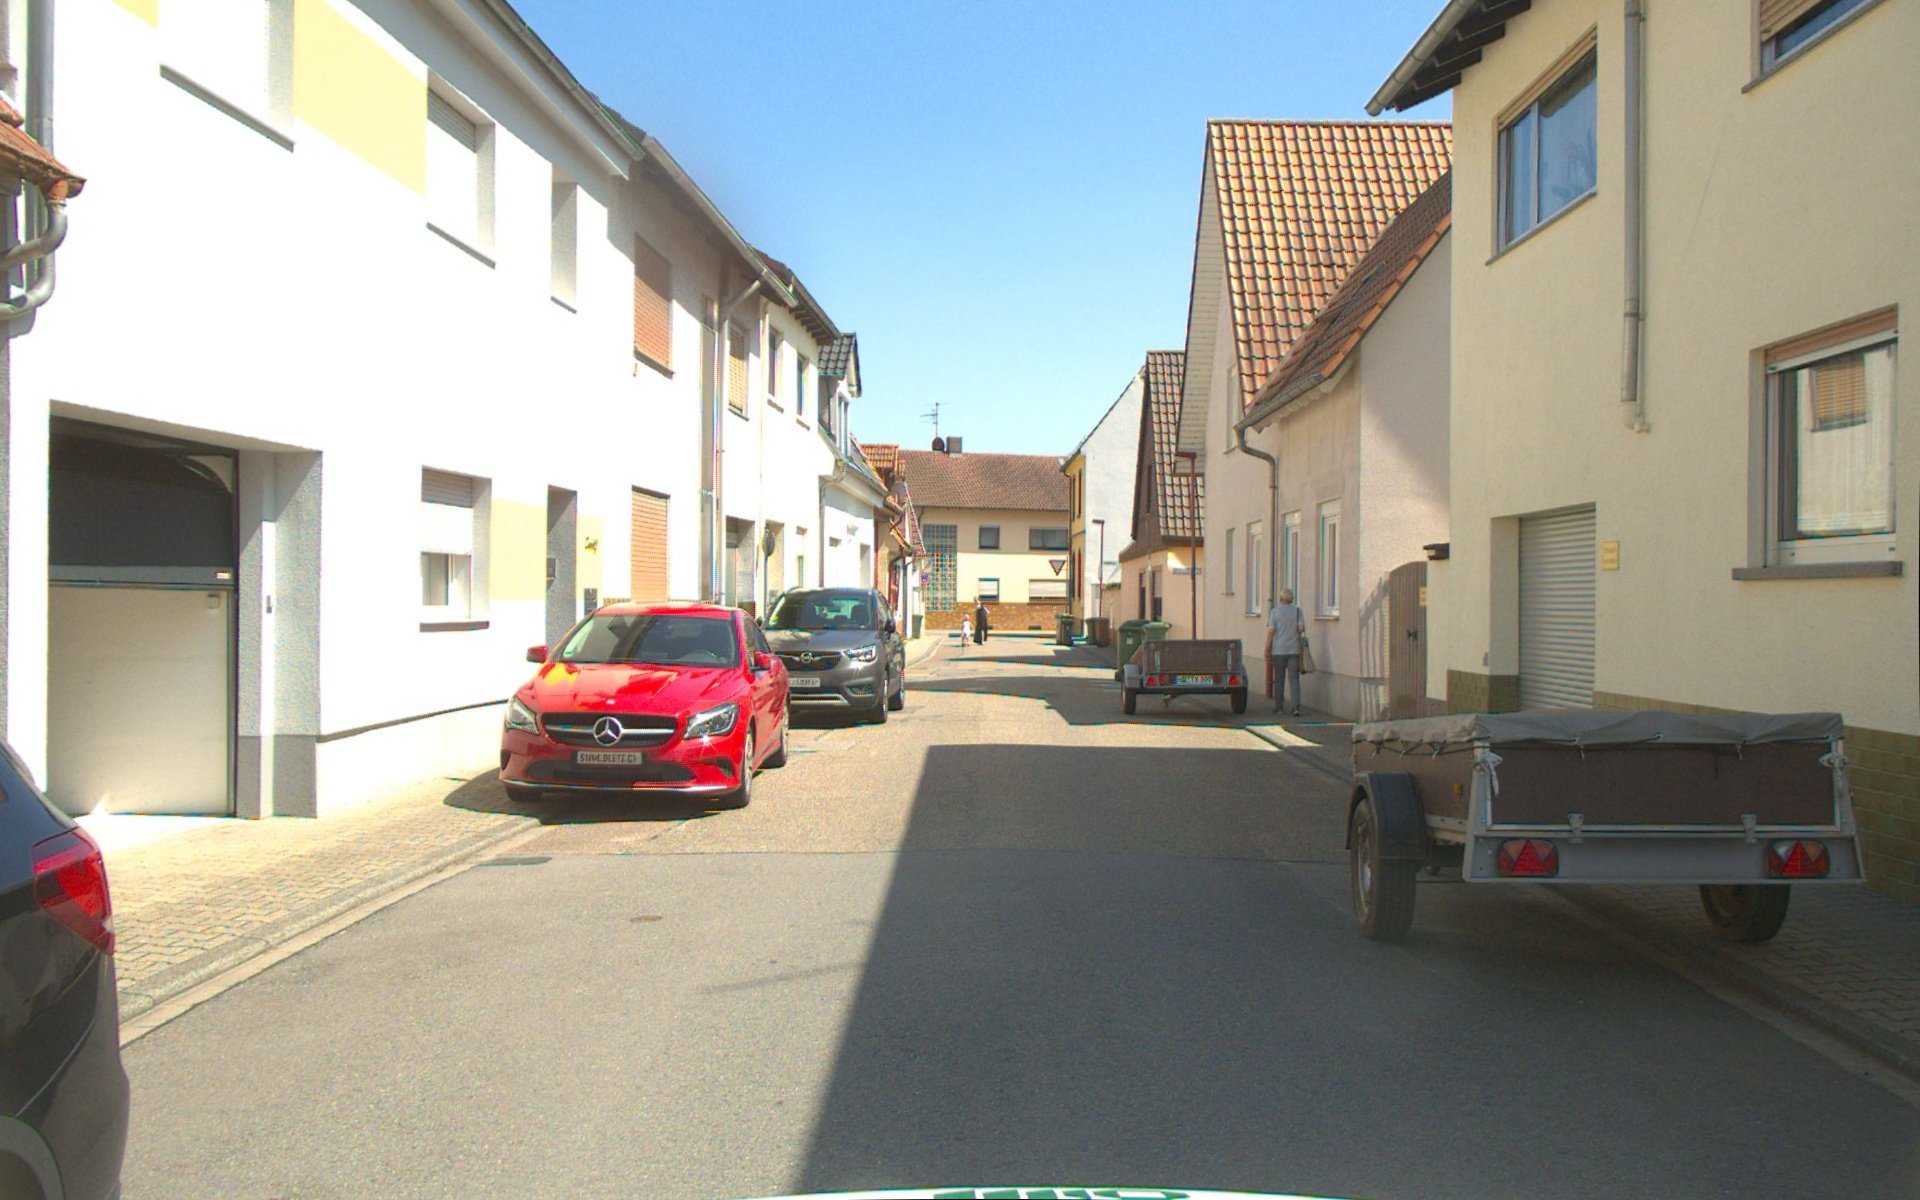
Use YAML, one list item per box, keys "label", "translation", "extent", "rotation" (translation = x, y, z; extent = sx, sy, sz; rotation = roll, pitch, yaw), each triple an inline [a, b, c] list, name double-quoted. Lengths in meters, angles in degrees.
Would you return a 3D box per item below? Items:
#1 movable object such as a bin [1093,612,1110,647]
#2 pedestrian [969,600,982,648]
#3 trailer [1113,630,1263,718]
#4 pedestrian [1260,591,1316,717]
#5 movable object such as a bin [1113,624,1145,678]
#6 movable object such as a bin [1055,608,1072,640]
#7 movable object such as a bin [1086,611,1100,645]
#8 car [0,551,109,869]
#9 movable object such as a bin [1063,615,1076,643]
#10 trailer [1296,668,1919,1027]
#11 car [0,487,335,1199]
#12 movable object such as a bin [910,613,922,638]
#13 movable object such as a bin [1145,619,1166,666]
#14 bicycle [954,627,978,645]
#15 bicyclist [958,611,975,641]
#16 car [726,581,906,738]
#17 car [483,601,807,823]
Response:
- label: "movable object such as a bin"
  translation: [4.676, 0.958, 54.564]
  extent: [0.514, 1.147, 0.366]
  rotation: [0, -1, -1]
- label: "pedestrian"
  translation: [0.525, 0.810, 56.024]
  extent: [0.404, 1.638, 0.367]
  rotation: [0, -1, -9]
- label: "trailer"
  translation: [3.074, 0.971, 22.836]
  extent: [1.664, 1.051, 3.481]
  rotation: [0, 0, 1]
- label: "pedestrian"
  translation: [4.210, 0.698, 21.261]
  extent: [0.583, 1.592, 0.557]
  rotation: [0, -4, -1]
- label: "movable object such as a bin"
  translation: [3.339, 1.001, 32.780]
  extent: [0.573, 1.051, 0.595]
  rotation: [0, 0, 0]
- label: "movable object such as a bin"
  translation: [3.637, 0.843, 58.321]
  extent: [0.557, 1.147, 0.453]
  rotation: [0, 0, -1]
- label: "movable object such as a bin"
  translation: [4.592, 0.968, 57.132]
  extent: [0.417, 1.147, 0.414]
  rotation: [0, -1, -1]
- label: "car"
  translation: [-6.927, 0.576, 8.744]
  extent: [3.904, 1.646, 1.833]
  rotation: [0, 0, 2]
- label: "movable object such as a bin"
  translation: [3.828, 1.006, 57.708]
  extent: [0.415, 0.992, 0.473]
  rotation: [0, 0, -1]
- label: "trailer"
  translation: [2.730, 0.946, 7.585]
  extent: [1.779, 1.109, 3.482]
  rotation: [0, 0, 2]
- label: "car"
  translation: [-2.171, 0.656, 0.907]
  extent: [1.762, 1.601, 4.616]
  rotation: [0, 0, 2]
- label: "movable object such as a bin"
  translation: [-1.696, 0.981, 63.813]
  extent: [0.439, 0.937, 0.404]
  rotation: [0, 0, -1]
- label: "movable object such as a bin"
  translation: [4.640, 1.011, 39.242]
  extent: [0.448, 1.106, 0.502]
  rotation: [0, -1, 0]
- label: "bicycle"
  translation: [0.200, 1.197, 55.286]
  extent: [0.436, 0.577, 0.931]
  rotation: [0, 0, -27]
- label: "bicyclist"
  translation: [0.220, 0.876, 55.274]
  extent: [0.456, 0.976, 0.349]
  rotation: [0, 0, -27]
- label: "car"
  translation: [-1.709, 0.683, 20.973]
  extent: [1.763, 1.733, 4.488]
  rotation: [-1, 0, 1]
- label: "car"
  translation: [-2.311, 0.757, 13.291]
  extent: [1.763, 1.466, 4.487]
  rotation: [0, 0, 0]
